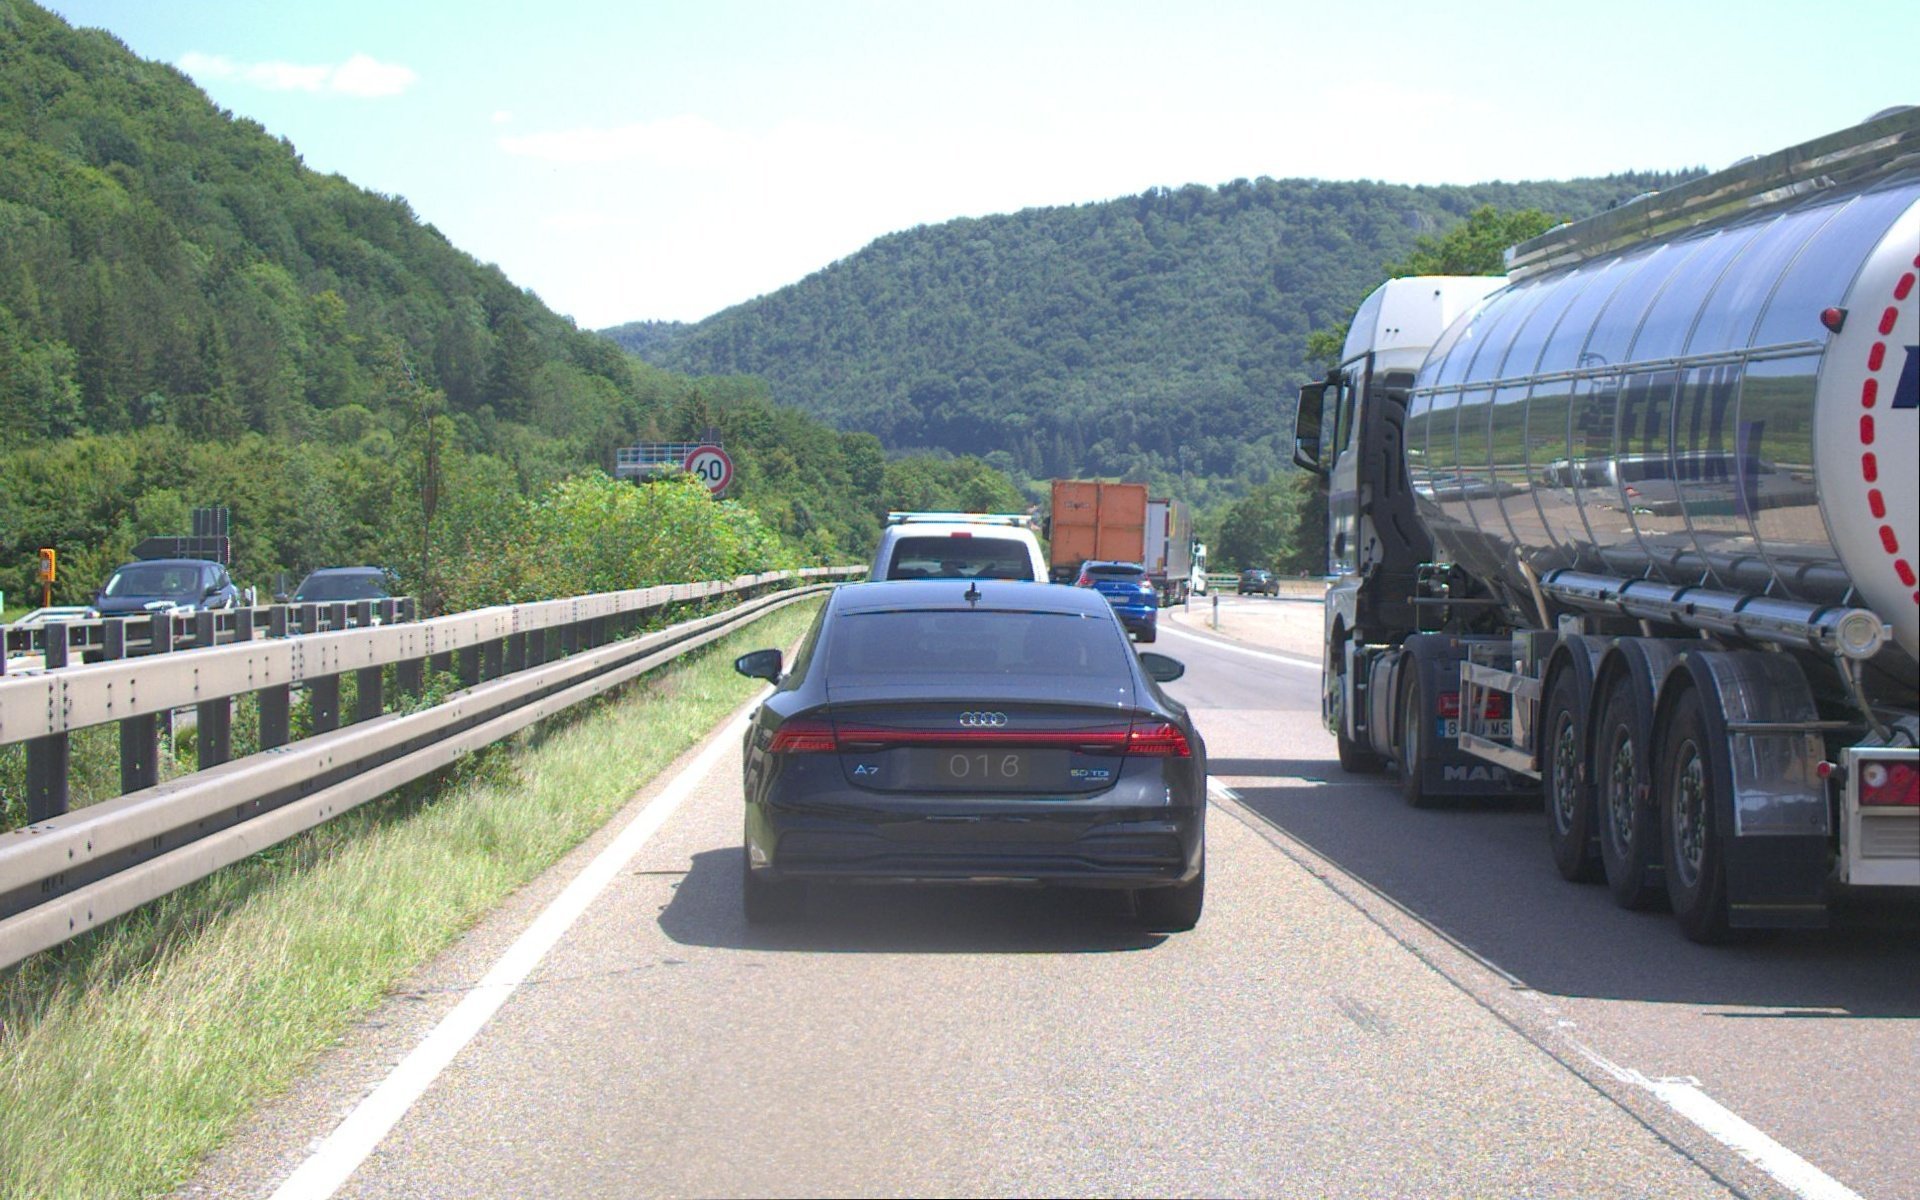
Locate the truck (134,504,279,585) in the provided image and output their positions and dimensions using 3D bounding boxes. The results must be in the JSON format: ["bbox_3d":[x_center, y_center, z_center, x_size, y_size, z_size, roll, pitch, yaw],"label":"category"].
[{"bbox_3d":[-25.975,-1.906,118.892,3.580,2.686,8.449,0,1,-3],"label":"truck"}]

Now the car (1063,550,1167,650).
[{"bbox_3d":[3.186,-0.028,71.546,1.993,1.996,4.000,-1,1,0],"label":"car"}]

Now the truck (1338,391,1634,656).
[{"bbox_3d":[8.768,-1.277,59.442,2.817,3.989,14.956,0,1,0],"label":"truck"}]

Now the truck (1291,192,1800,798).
[{"bbox_3d":[3.889,-0.691,23.959,2.511,3.745,5.246,0,1,-1],"label":"truck"}]

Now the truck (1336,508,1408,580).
[{"bbox_3d":[26.014,-3.517,216.630,3.795,4.399,14.949,0,1,9],"label":"truck"}]

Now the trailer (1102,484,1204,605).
[{"bbox_3d":[7.233,-2.093,130.349,3.015,4.367,10.986,0,1,-1],"label":"trailer"}]

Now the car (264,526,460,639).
[{"bbox_3d":[-8.332,-0.262,48.291,1.993,1.514,4.678,0,1,-1],"label":"car"}]

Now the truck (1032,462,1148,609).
[{"bbox_3d":[3.687,-1.866,100.764,2.817,3.989,14.956,0,1,0],"label":"truck"}]

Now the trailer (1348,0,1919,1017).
[{"bbox_3d":[4.041,-0.575,17.289,2.538,3.722,11.892,0,1,-1],"label":"trailer"}]

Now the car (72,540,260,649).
[{"bbox_3d":[-12.338,-0.117,53.706,1.922,1.615,4.561,0,1,-1],"label":"car"}]

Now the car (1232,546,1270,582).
[{"bbox_3d":[16.494,-2.032,194.964,1.994,2.007,3.999,0,1,7],"label":"car"}]

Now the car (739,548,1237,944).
[{"bbox_3d":[-0.022,0.523,15.005,1.849,1.483,4.083,0,1,-4],"label":"car"}]

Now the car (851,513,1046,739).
[{"bbox_3d":[-0.121,0.178,29.881,1.576,1.827,4.000,0,1,-1],"label":"car"}]

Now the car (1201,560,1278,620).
[{"bbox_3d":[7.253,-0.270,89.374,1.747,1.525,4.000,0,1,1],"label":"car"}]
